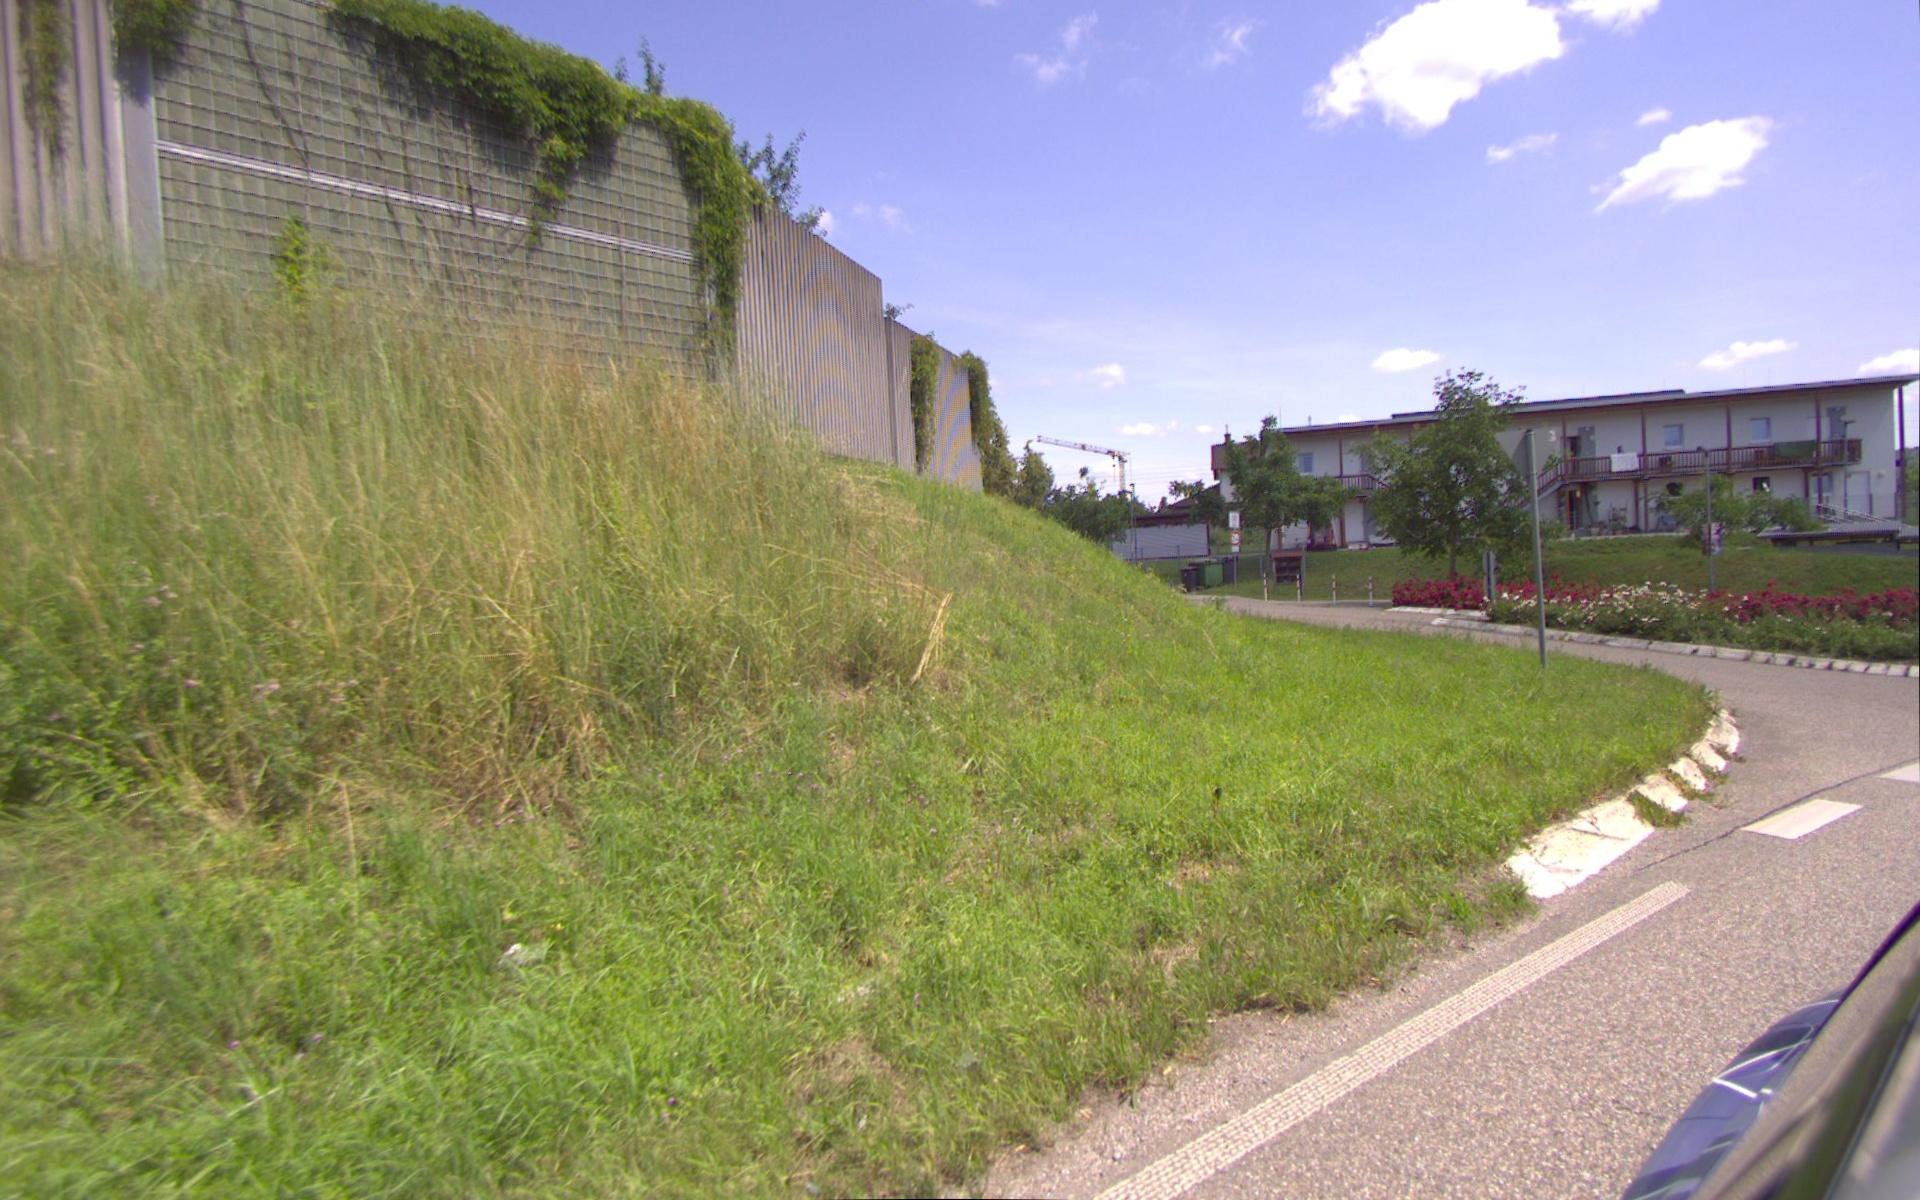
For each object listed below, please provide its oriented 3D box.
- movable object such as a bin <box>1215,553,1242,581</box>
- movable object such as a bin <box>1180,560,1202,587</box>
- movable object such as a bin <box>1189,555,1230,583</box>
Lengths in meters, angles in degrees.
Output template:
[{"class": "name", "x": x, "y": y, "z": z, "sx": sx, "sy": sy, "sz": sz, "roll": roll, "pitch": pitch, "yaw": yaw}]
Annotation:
[{"class": "movable object such as a bin", "x": 11.606, "y": -1.417, "z": 43.709, "sx": 0.777, "sy": 1.132, "sz": 0.761, "roll": -1, "pitch": -2, "yaw": -29}, {"class": "movable object such as a bin", "x": 9.736, "y": -1.114, "z": 42.668, "sx": 0.614, "sy": 1.095, "sz": 0.626, "roll": -1, "pitch": -2, "yaw": -29}, {"class": "movable object such as a bin", "x": 10.629, "y": -1.327, "z": 43.146, "sx": 1.339, "sy": 1.117, "sz": 0.969, "roll": -1, "pitch": -2, "yaw": -29}]
